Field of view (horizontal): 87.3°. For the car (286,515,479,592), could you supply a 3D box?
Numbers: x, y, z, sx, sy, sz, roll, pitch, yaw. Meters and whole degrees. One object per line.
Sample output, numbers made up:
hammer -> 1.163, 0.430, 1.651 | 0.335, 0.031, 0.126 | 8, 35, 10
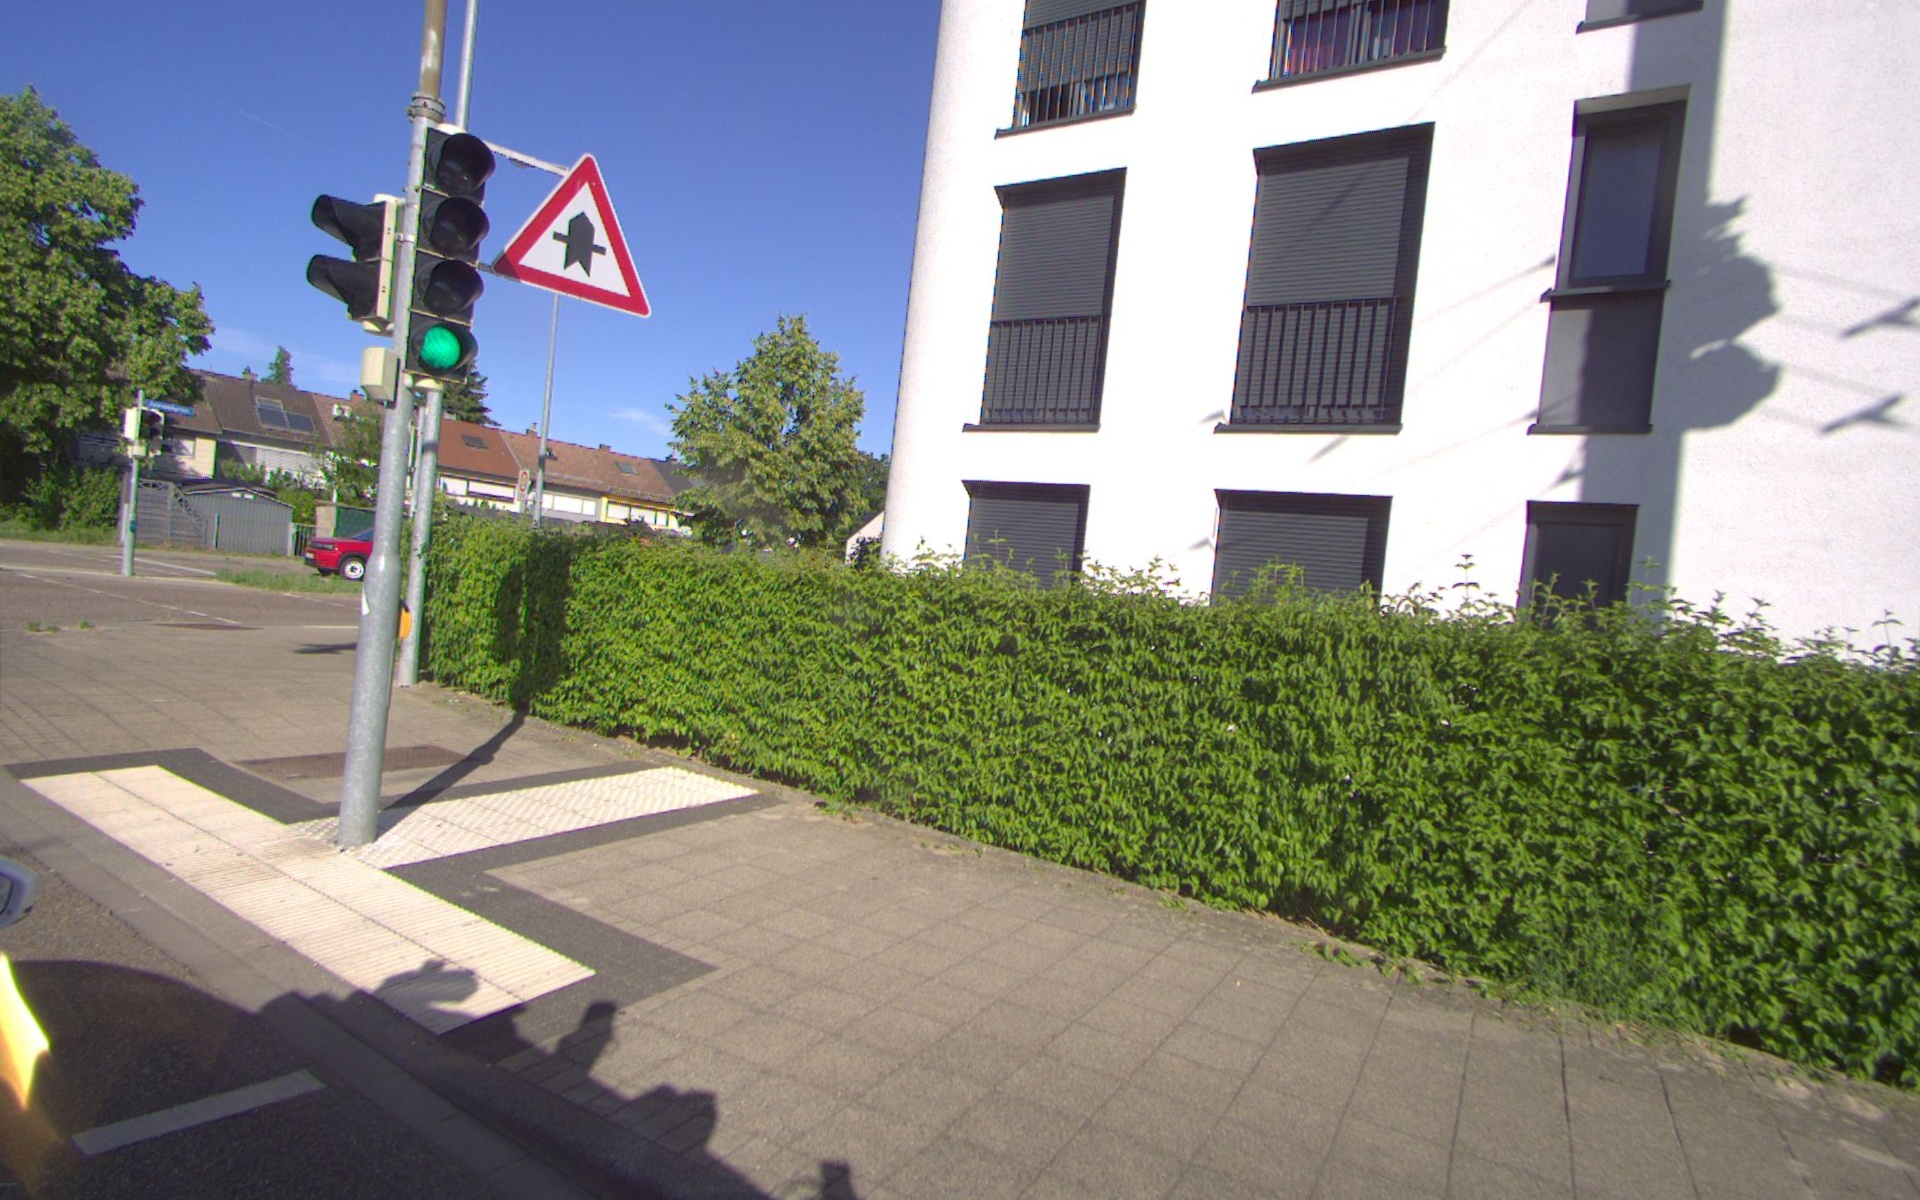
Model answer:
car -> -16.022, -1.259, 28.078 | 1.917, 1.608, 4.164 | 7, 1, 38
